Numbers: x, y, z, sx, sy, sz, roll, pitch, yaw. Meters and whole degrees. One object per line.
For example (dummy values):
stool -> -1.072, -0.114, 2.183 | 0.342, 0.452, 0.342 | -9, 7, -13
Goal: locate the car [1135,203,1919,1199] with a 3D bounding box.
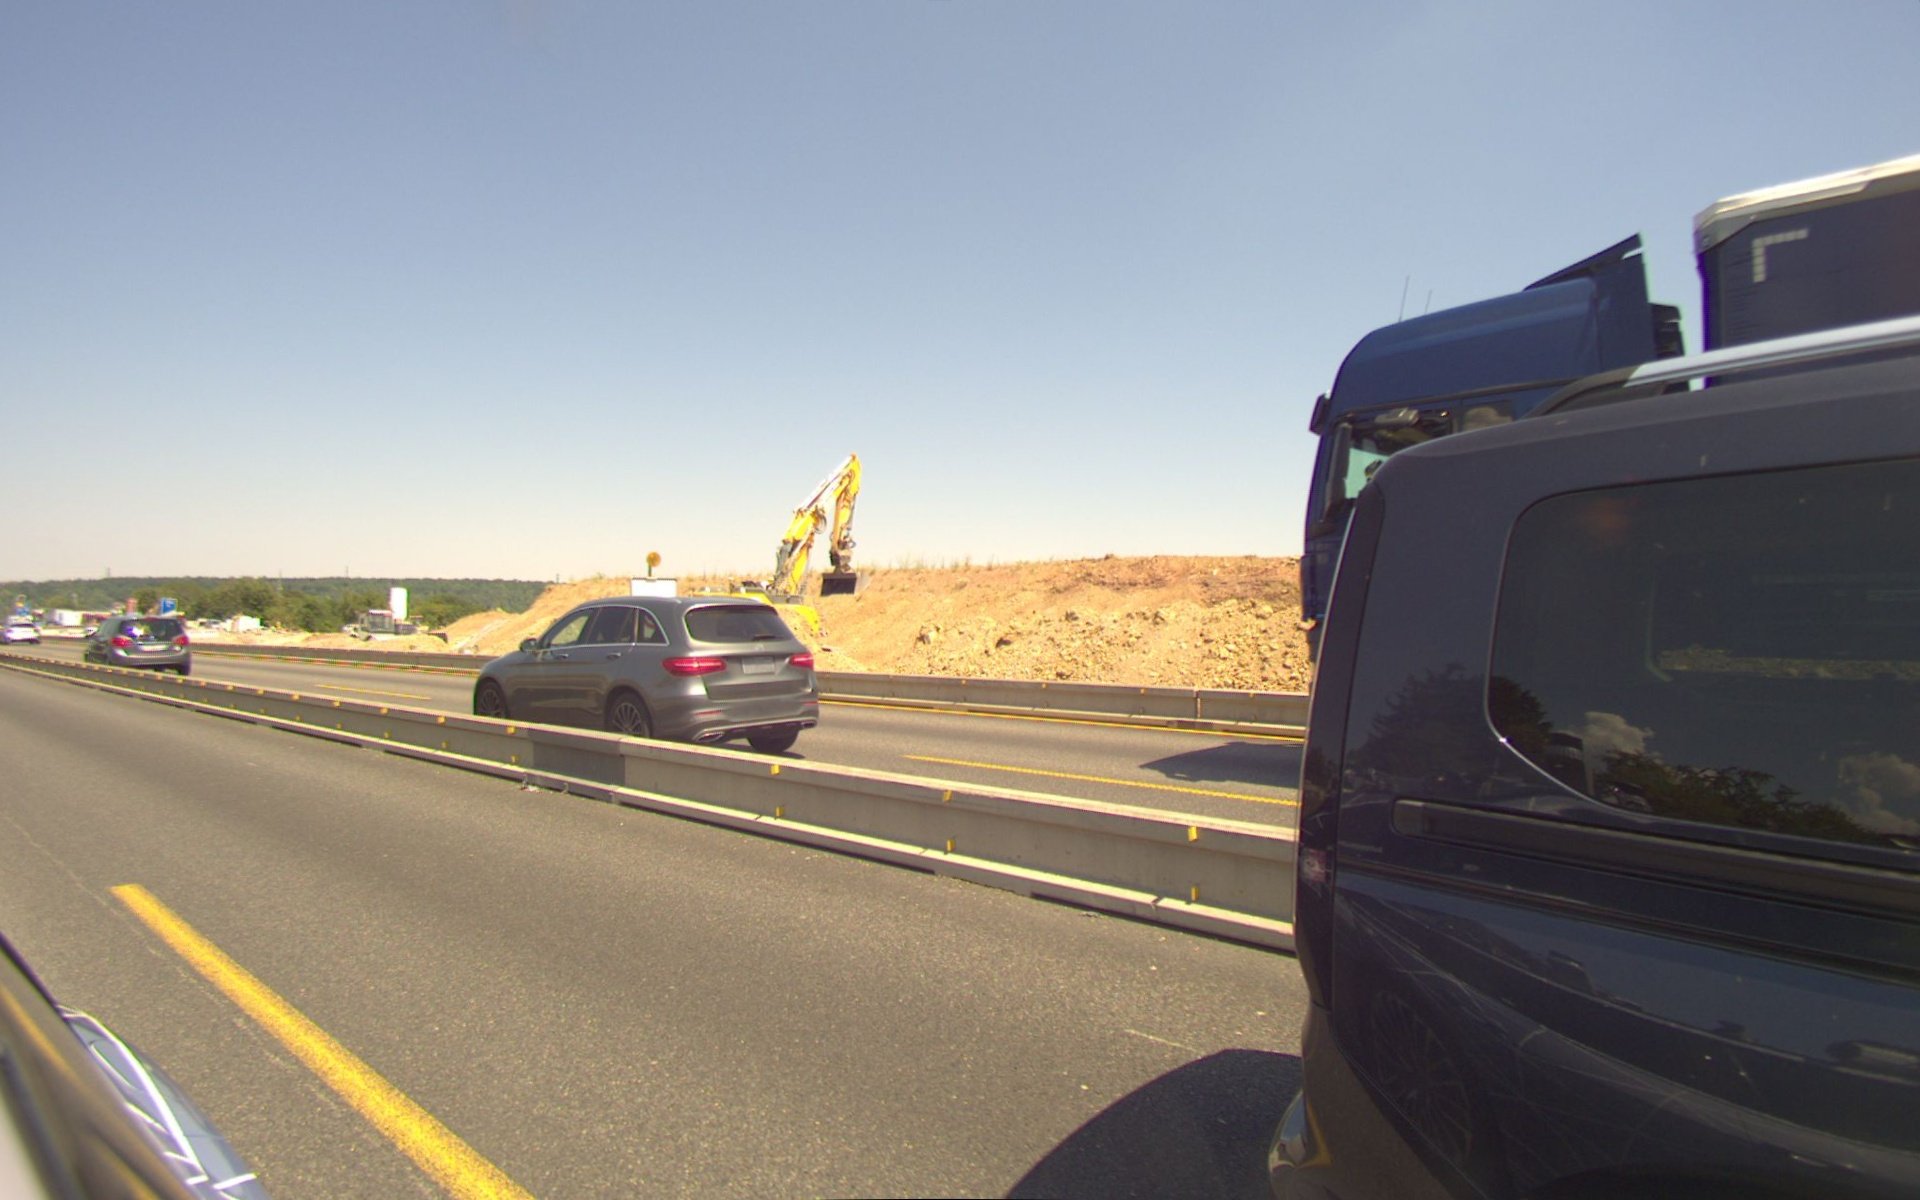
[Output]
car -> 2.667, 0.459, 0.737 | 4.780, 1.838, 1.733 | -2, -1, 41

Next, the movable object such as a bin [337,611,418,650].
movable object such as a bin -> -34.475, 1.737, 59.768 | 6.141, 2.150, 2.291 | -1, 0, 41

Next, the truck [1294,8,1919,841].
truck -> 5.997, -0.993, 7.140 | 6.241, 4.687, 2.934 | -1, 0, 41

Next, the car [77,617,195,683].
car -> -21.819, 1.280, 26.744 | 4.223, 1.577, 1.748 | -2, -1, 41

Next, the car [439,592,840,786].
car -> -3.626, 0.776, 10.877 | 4.883, 1.641, 1.849 | -1, 0, 41

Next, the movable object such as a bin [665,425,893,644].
movable object such as a bin -> -6.498, -2.147, 37.206 | 4.079, 7.167, 7.284 | -1, 0, 41
